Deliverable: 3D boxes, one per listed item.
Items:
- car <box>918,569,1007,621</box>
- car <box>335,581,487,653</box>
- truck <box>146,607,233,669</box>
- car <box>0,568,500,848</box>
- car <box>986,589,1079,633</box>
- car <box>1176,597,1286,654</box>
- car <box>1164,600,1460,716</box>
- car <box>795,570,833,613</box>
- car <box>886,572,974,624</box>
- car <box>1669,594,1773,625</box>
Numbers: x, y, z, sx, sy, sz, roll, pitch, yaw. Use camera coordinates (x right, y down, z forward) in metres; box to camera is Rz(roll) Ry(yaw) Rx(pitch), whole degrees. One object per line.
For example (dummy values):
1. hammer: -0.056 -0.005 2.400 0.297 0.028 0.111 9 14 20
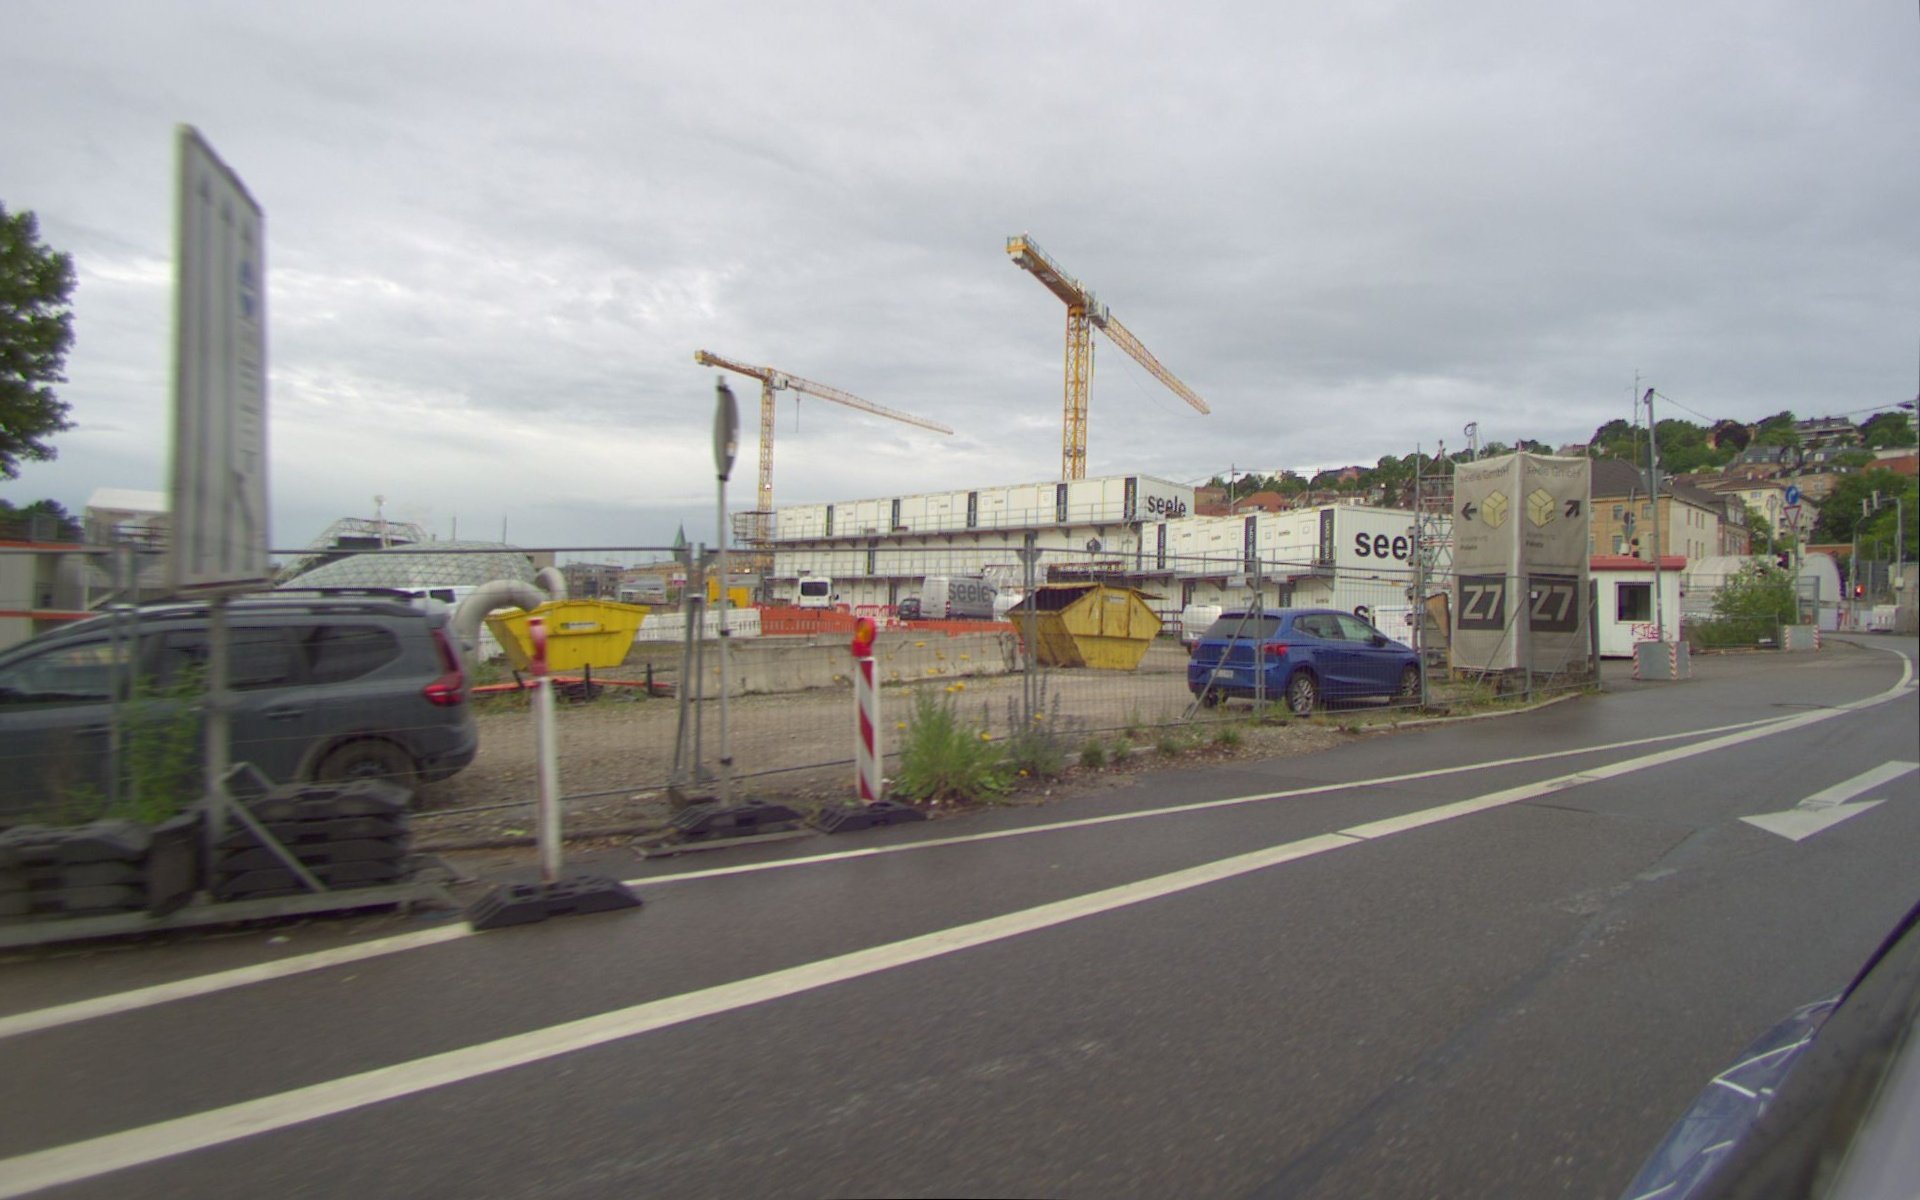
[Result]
1. car: 0.179 -0.280 51.962 1.990 2.472 4.915 2 2 38
2. car: -19.752 0.521 36.727 1.925 2.306 5.248 3 2 11
3. truck: -28.357 1.425 37.228 2.367 2.080 5.557 1 -3 -38
4. car: -5.968 0.688 7.674 4.324 1.669 1.932 1 5 -30
5. car: 3.518 0.474 48.095 1.990 1.910 4.915 4 2 38
6. car: 10.230 0.911 37.979 2.014 1.925 4.580 3 1 44
7. car: 5.172 0.759 14.675 4.328 1.460 1.838 0 -2 -34
8. car: -8.706 -0.526 60.074 2.106 2.412 4.411 1 1 -9
9. car: -1.545 -0.141 53.833 1.990 2.591 4.915 4 2 38
10. car: 42.269 0.487 56.358 4.535 1.489 1.974 2 2 37
